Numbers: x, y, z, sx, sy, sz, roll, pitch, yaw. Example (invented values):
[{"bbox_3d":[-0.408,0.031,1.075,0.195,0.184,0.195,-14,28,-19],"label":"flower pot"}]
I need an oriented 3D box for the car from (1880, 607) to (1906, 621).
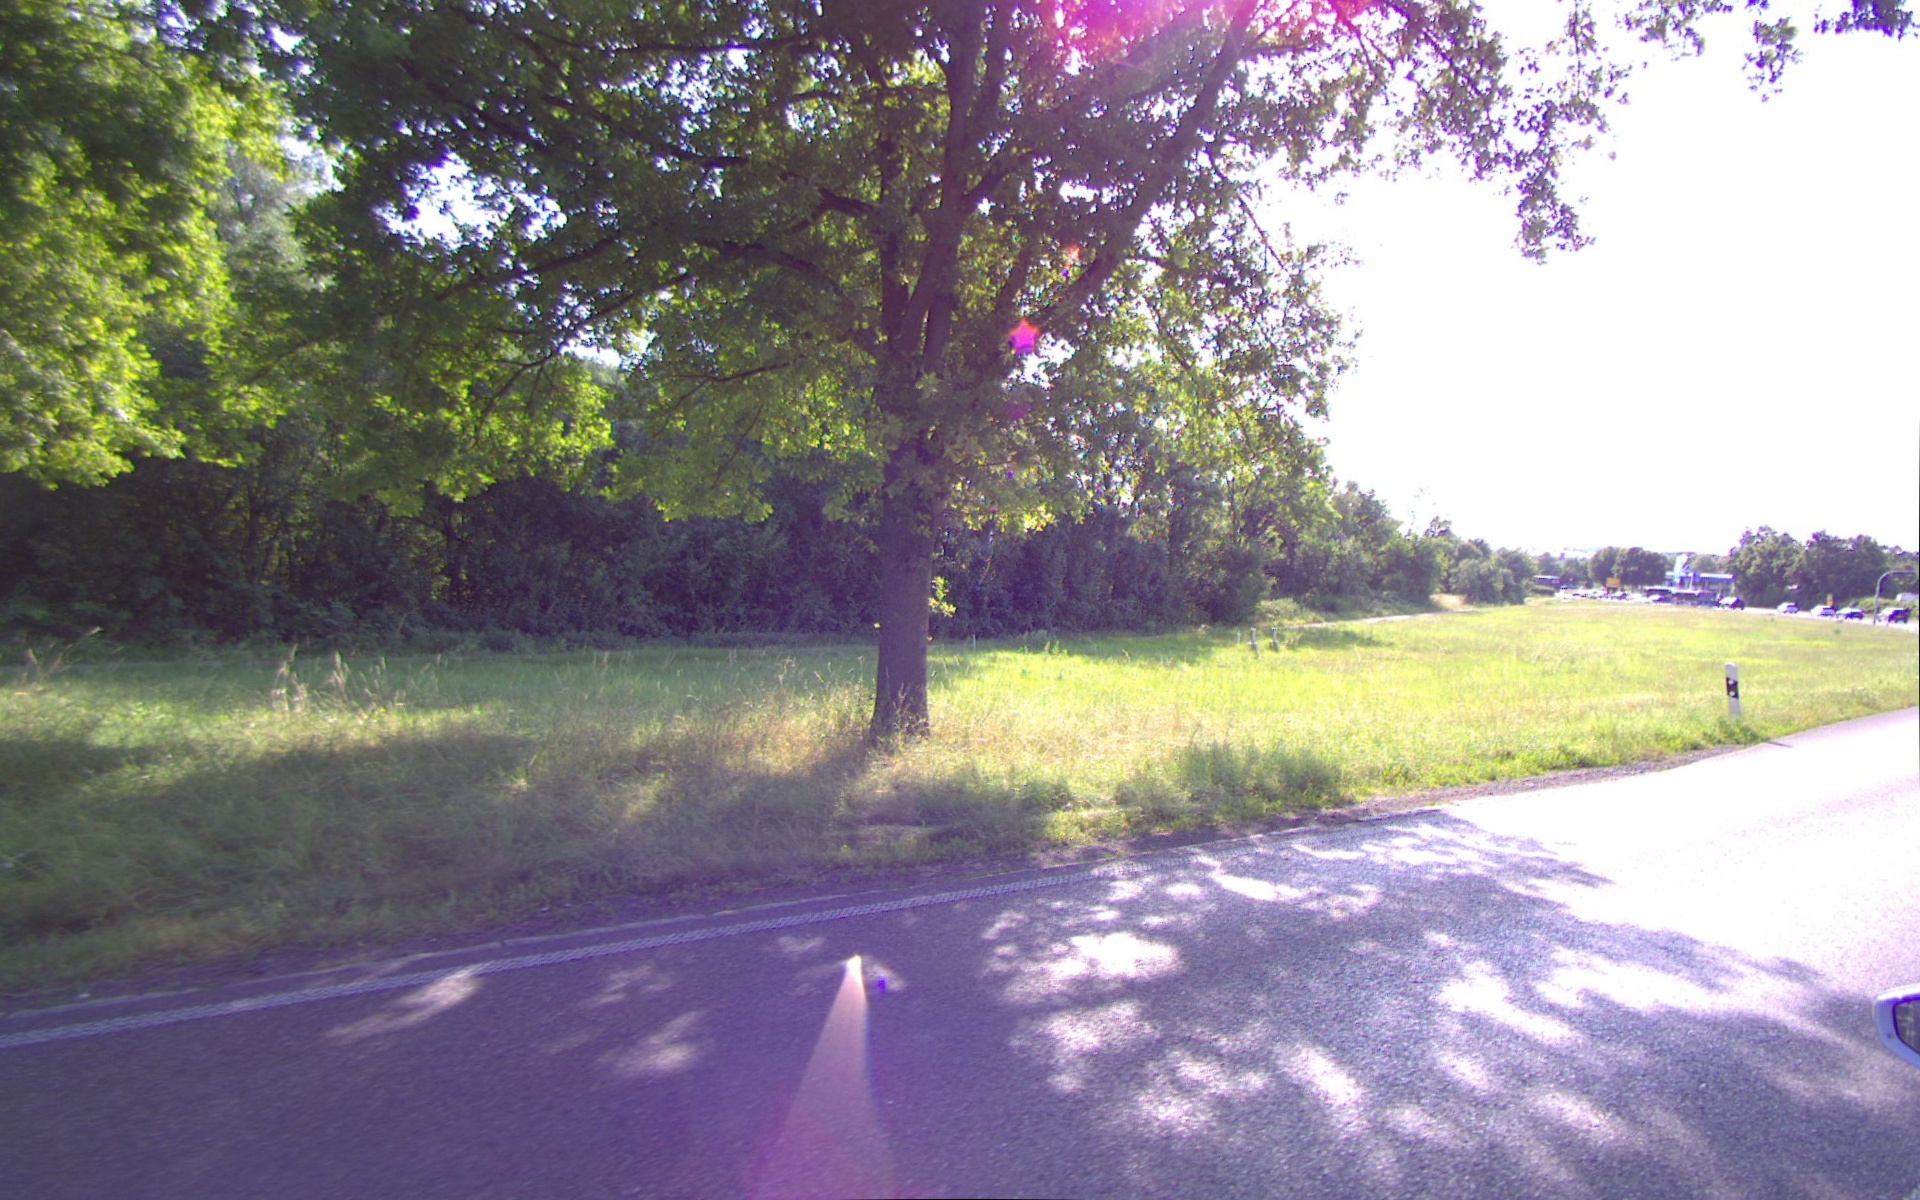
[{"bbox_3d":[111.056,1.666,119.584,1.498,1.678,3.864,2,0,31],"label":"car"}]

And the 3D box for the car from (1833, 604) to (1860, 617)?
[{"bbox_3d":[116.030,1.357,131.547,1.653,1.579,3.868,2,0,27],"label":"car"}]

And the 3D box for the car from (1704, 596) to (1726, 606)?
[{"bbox_3d":[133.842,0.140,178.068,2.051,1.621,3.998,2,1,22],"label":"car"}]

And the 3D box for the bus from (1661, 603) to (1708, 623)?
[{"bbox_3d":[121.190,2.202,168.238,2.748,3.224,12.128,2,0,19],"label":"bus"}]

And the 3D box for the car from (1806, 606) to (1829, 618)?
[{"bbox_3d":[121.112,1.735,141.891,1.653,1.579,3.868,2,0,27],"label":"car"}]

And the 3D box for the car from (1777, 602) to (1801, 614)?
[{"bbox_3d":[128.058,1.279,155.193,1.945,1.678,3.868,2,0,27],"label":"car"}]

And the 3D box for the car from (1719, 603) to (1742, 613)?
[{"bbox_3d":[129.792,1.302,169.203,2.051,1.621,3.998,2,1,22],"label":"car"}]

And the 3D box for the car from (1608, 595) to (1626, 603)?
[{"bbox_3d":[139.870,-0.304,213.860,1.850,1.621,4.001,2,1,15],"label":"car"}]

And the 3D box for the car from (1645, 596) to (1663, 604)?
[{"bbox_3d":[138.140,-0.051,200.040,2.051,1.621,3.998,2,1,22],"label":"car"}]

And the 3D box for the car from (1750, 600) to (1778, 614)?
[{"bbox_3d":[104.078,0.957,130.082,1.812,1.678,3.997,2,0,24],"label":"car"}]
